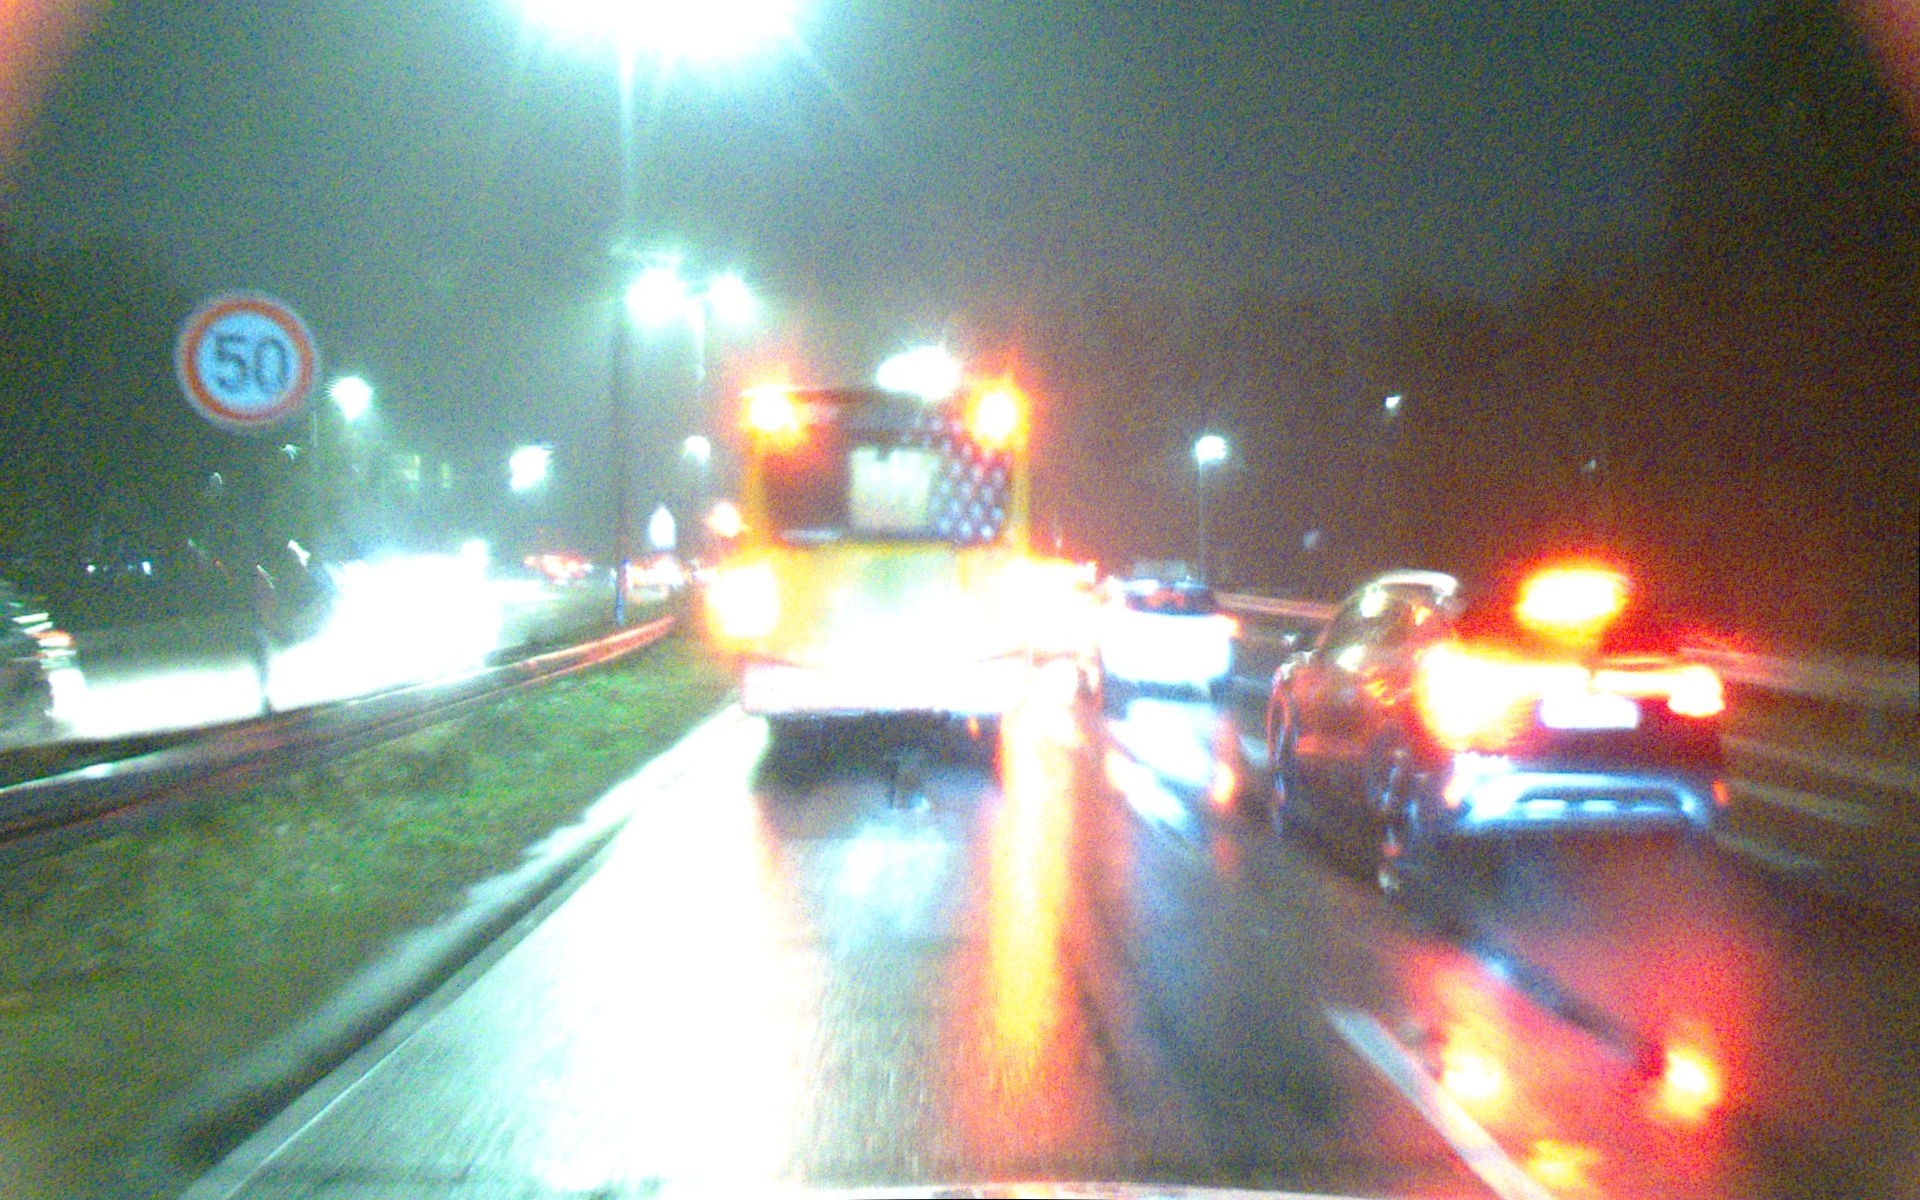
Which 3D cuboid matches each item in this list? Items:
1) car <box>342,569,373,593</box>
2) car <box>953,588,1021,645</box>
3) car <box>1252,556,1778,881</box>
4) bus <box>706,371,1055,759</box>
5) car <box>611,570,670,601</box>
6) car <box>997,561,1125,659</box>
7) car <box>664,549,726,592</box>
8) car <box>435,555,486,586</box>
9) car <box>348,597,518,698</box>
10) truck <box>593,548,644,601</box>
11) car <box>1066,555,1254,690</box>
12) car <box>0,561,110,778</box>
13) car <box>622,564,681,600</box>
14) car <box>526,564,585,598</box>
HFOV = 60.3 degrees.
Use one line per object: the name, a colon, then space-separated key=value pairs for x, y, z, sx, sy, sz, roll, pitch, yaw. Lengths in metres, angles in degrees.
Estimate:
car: x=-47.429 y=-1.520 z=130.236 sx=1.962 sy=1.715 sz=3.983 roll=3 pitch=1 yaw=-16
car: x=0.767 y=0.457 z=49.113 sx=1.744 sy=1.570 sz=3.873 roll=1 pitch=1 yaw=-3
car: x=3.090 y=0.568 z=10.072 sx=1.705 sy=1.592 sz=3.774 roll=1 pitch=1 yaw=-4
bus: x=-0.830 y=-0.324 z=17.601 sx=2.759 sy=3.077 sz=8.683 roll=1 pitch=1 yaw=-3
car: x=-17.509 y=-0.801 z=90.572 sx=1.738 sy=1.659 sz=3.575 roll=1 pitch=0 yaw=-37
car: x=1.729 y=0.140 z=29.510 sx=1.784 sy=1.618 sz=3.774 roll=-1 pitch=1 yaw=-4
car: x=-13.308 y=-1.477 z=82.807 sx=1.969 sy=2.049 sz=3.967 roll=1 pitch=0 yaw=-26
car: x=-34.338 y=-2.036 z=113.626 sx=1.981 sy=2.049 sz=3.942 roll=1 pitch=0 yaw=-40
car: x=-9.004 y=0.751 z=28.630 sx=1.781 sy=1.418 sz=4.456 roll=-4 pitch=1 yaw=-5
truck: x=-17.588 y=-1.355 z=85.142 sx=1.829 sy=2.434 sz=4.751 roll=-2 pitch=4 yaw=-20
car: x=2.545 y=0.245 z=21.911 sx=1.784 sy=1.618 sz=3.774 roll=-1 pitch=1 yaw=-4
car: x=-7.983 y=0.576 z=11.939 sx=1.774 sy=1.595 sz=3.997 roll=-4 pitch=1 yaw=-4
car: x=-17.902 y=-1.064 z=95.803 sx=1.976 sy=2.049 sz=3.952 roll=-1 pitch=1 yaw=-34
car: x=-24.643 y=-1.147 z=100.734 sx=2.193 sy=2.049 sz=3.950 roll=-1 pitch=1 yaw=-35
